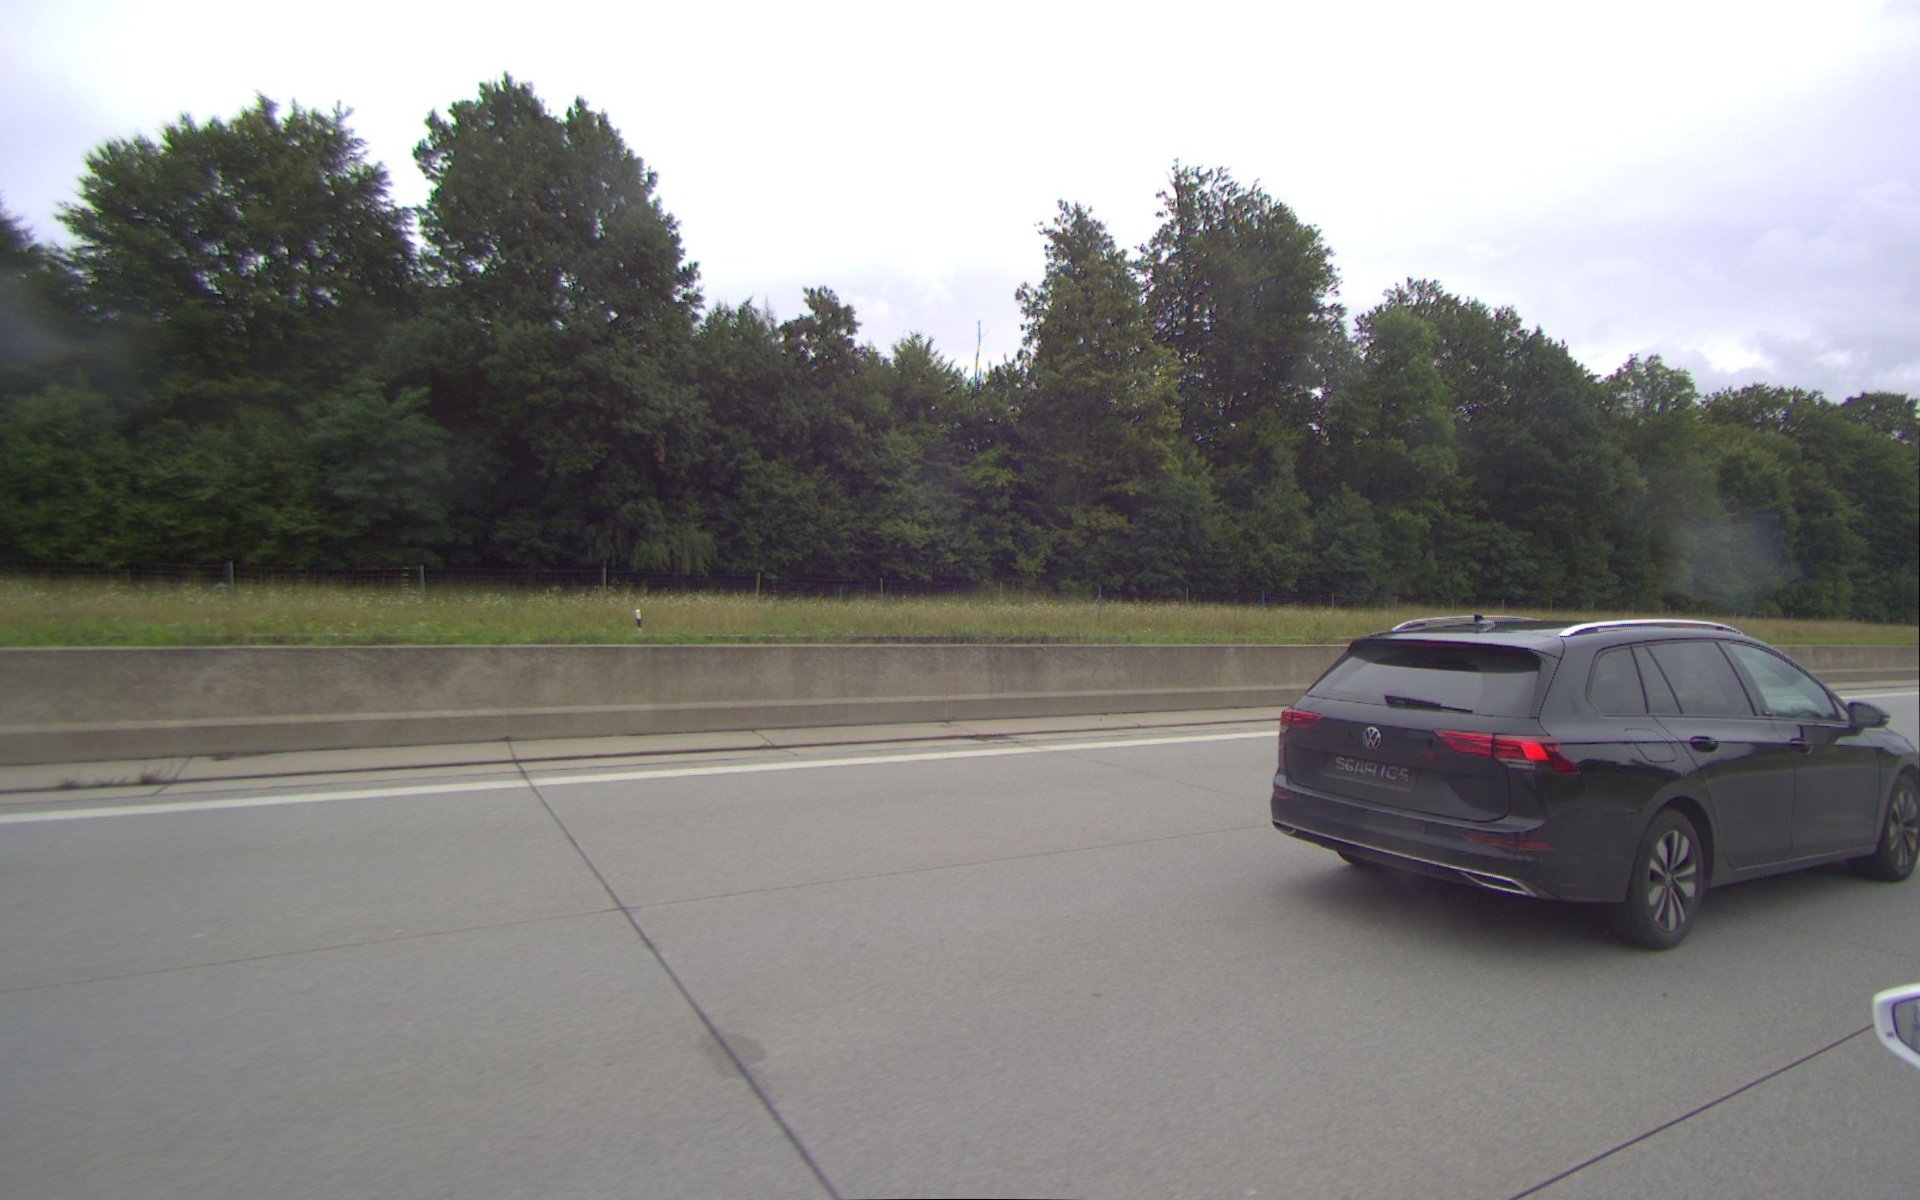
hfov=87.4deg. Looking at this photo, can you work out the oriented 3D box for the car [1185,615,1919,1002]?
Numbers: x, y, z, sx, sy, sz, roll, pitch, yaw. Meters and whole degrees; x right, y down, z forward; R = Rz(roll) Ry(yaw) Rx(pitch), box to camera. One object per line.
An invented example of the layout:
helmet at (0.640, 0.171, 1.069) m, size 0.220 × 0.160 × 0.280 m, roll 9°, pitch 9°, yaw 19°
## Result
car at (3.559, 0.852, 5.674) m, size 4.430 × 1.417 × 1.744 m, roll 1°, pitch 1°, yaw -29°
